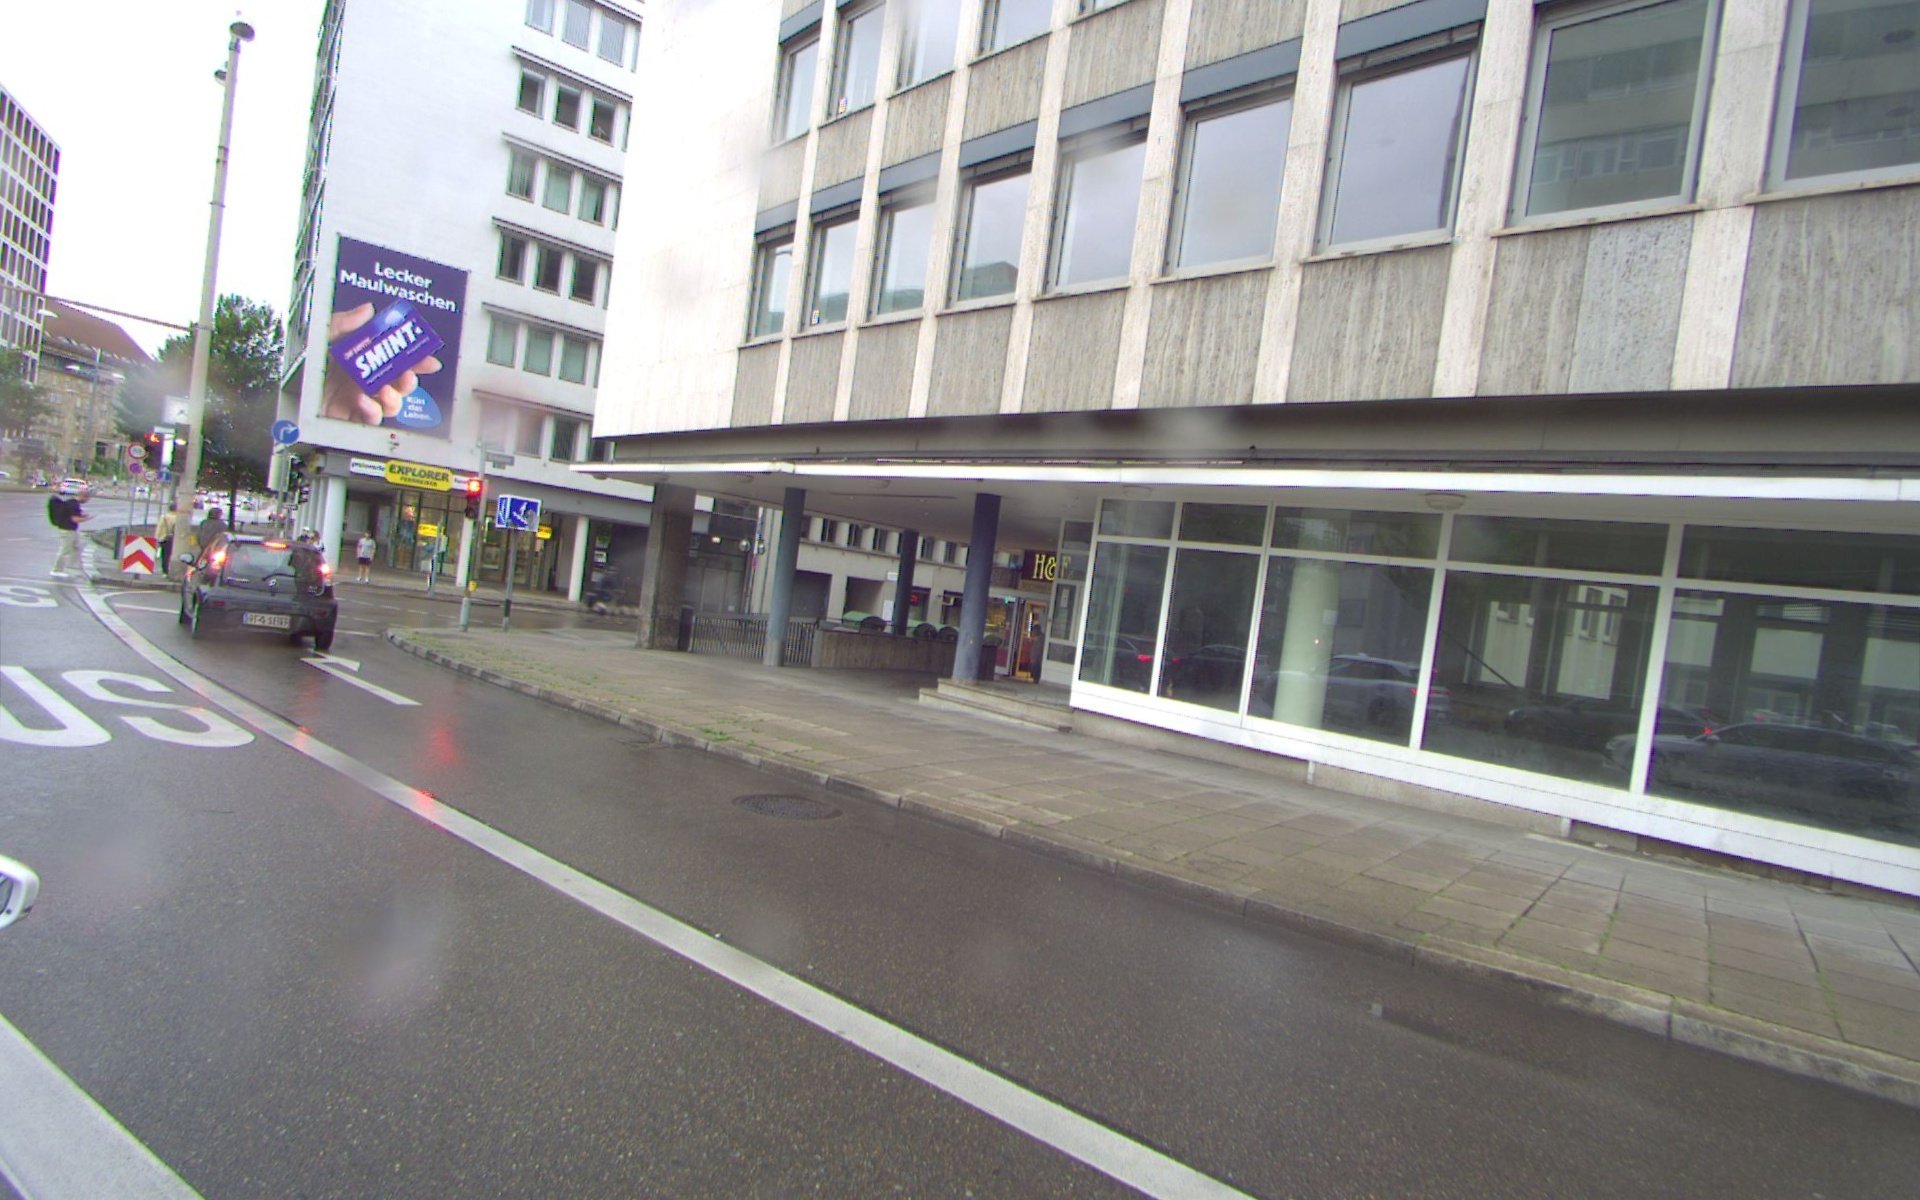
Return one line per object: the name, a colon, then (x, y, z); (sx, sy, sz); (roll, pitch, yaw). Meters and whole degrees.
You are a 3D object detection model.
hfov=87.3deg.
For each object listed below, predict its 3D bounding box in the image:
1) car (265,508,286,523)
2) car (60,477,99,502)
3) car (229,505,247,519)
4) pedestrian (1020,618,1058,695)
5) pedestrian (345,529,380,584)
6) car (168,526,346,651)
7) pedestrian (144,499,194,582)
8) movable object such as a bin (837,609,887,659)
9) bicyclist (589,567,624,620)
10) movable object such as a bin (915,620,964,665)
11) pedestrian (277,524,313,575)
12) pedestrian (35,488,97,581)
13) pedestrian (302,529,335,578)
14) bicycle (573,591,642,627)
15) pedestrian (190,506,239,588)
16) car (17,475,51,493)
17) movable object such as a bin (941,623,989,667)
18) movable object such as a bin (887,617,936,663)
car: (-91.626, -11.294, 134.687); (1.680, 1.503, 3.973); (8, -2, -28)
car: (-72.858, -9.106, 83.256); (1.878, 1.662, 3.962); (8, -1, -35)
car: (-125.014, -15.272, 174.125); (1.980, 2.037, 3.968); (8, -1, -31)
pedestrian: (1.980, 1.403, 25.169); (0.697, 1.825, 0.801); (8, 0, 6)
pedestrian: (-20.926, -1.521, 35.263); (0.660, 1.815, 0.771); (7, 0, -15)
car: (-10.447, -0.232, 14.822); (1.566, 1.446, 3.953); (9, -2, -42)
pedestrian: (-18.431, -1.391, 23.460); (0.745, 1.820, 0.808); (7, 1, -38)
movable object such as a bin: (-3.270, 1.132, 33.523); (0.961, 1.447, 1.268); (7, 1, -36)
bicyclist: (-11.349, -0.192, 32.305); (0.764, 1.588, 0.527); (7, 0, -40)
movable object such as a bin: (-0.736, 1.513, 35.931); (1.095, 1.399, 1.186); (7, 1, -37)
pedestrian: (-22.891, -1.729, 34.646); (0.660, 1.675, 0.651); (8, 0, -15)
pedestrian: (-18.048, -1.321, 20.304); (0.768, 1.752, 0.589); (7, 0, -44)
pedestrian: (-22.173, -1.595, 34.767); (0.616, 1.561, 0.651); (8, 0, -15)
bicycle: (-11.322, 0.298, 32.394); (2.018, 0.899, 0.398); (9, -1, -41)
pedestrian: (-17.669, -1.249, 23.841); (0.745, 1.820, 0.808); (7, 1, -38)
car: (-106.081, -13.258, 115.295); (1.979, 1.506, 3.968); (8, 0, -30)
movable object such as a bin: (0.168, 1.640, 36.619); (1.095, 1.399, 1.186); (7, 1, -37)
movable object such as a bin: (-1.689, 1.382, 35.195); (1.095, 1.399, 1.186); (7, 1, -37)
